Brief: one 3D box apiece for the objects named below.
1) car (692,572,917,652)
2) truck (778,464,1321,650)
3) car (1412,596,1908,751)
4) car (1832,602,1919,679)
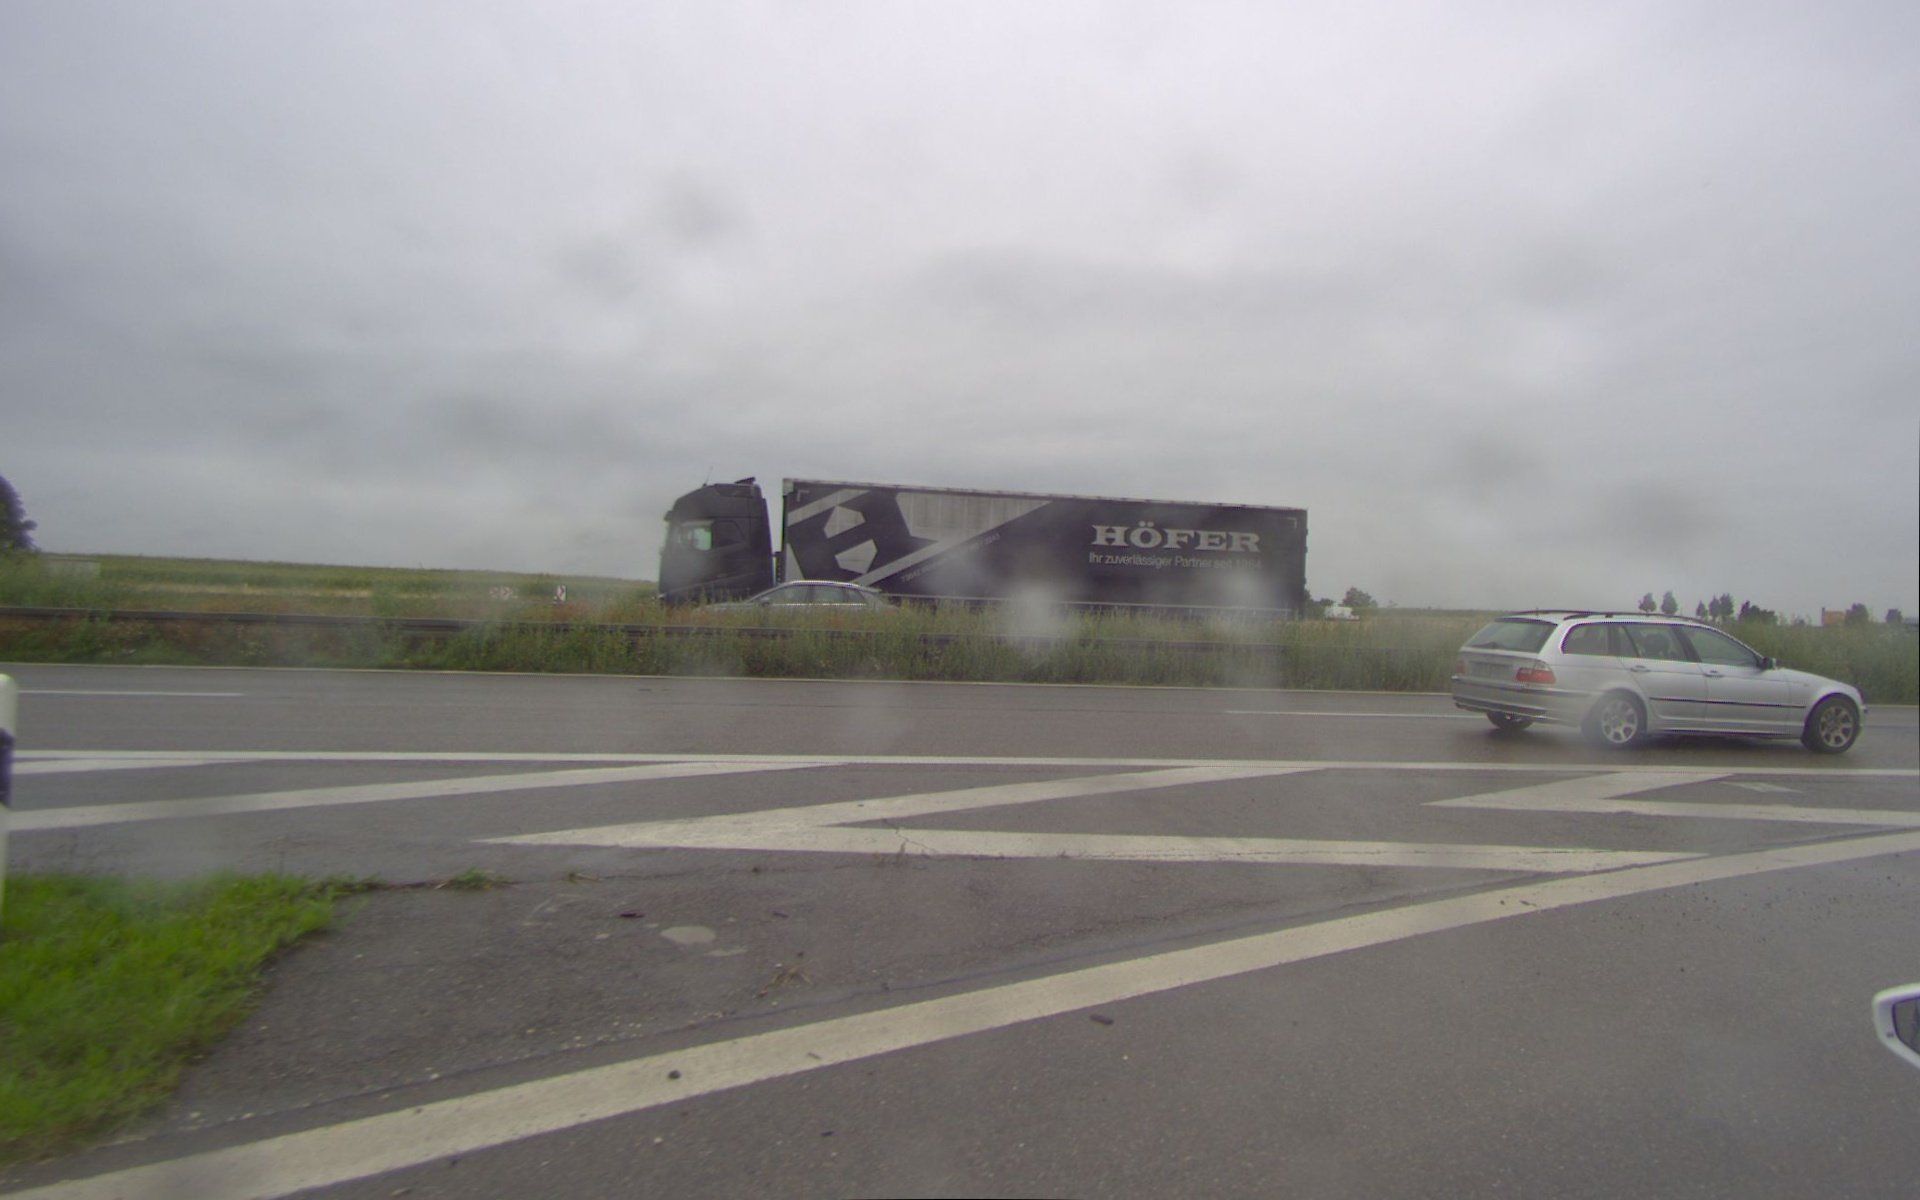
[{"bbox_3d":[-3.269,0.233,21.398,4.449,1.454,2.108,2,1,-9],"label":"car"},{"bbox_3d":[2.241,-1.020,26.374,13.561,4.020,3.199,2,2,-9],"label":"truck"},{"bbox_3d":[7.931,0.811,11.566,4.710,1.508,1.877,2,0,-10],"label":"car"},{"bbox_3d":[26.331,1.107,26.882,4.449,1.901,2.108,2,1,-9],"label":"car"}]
